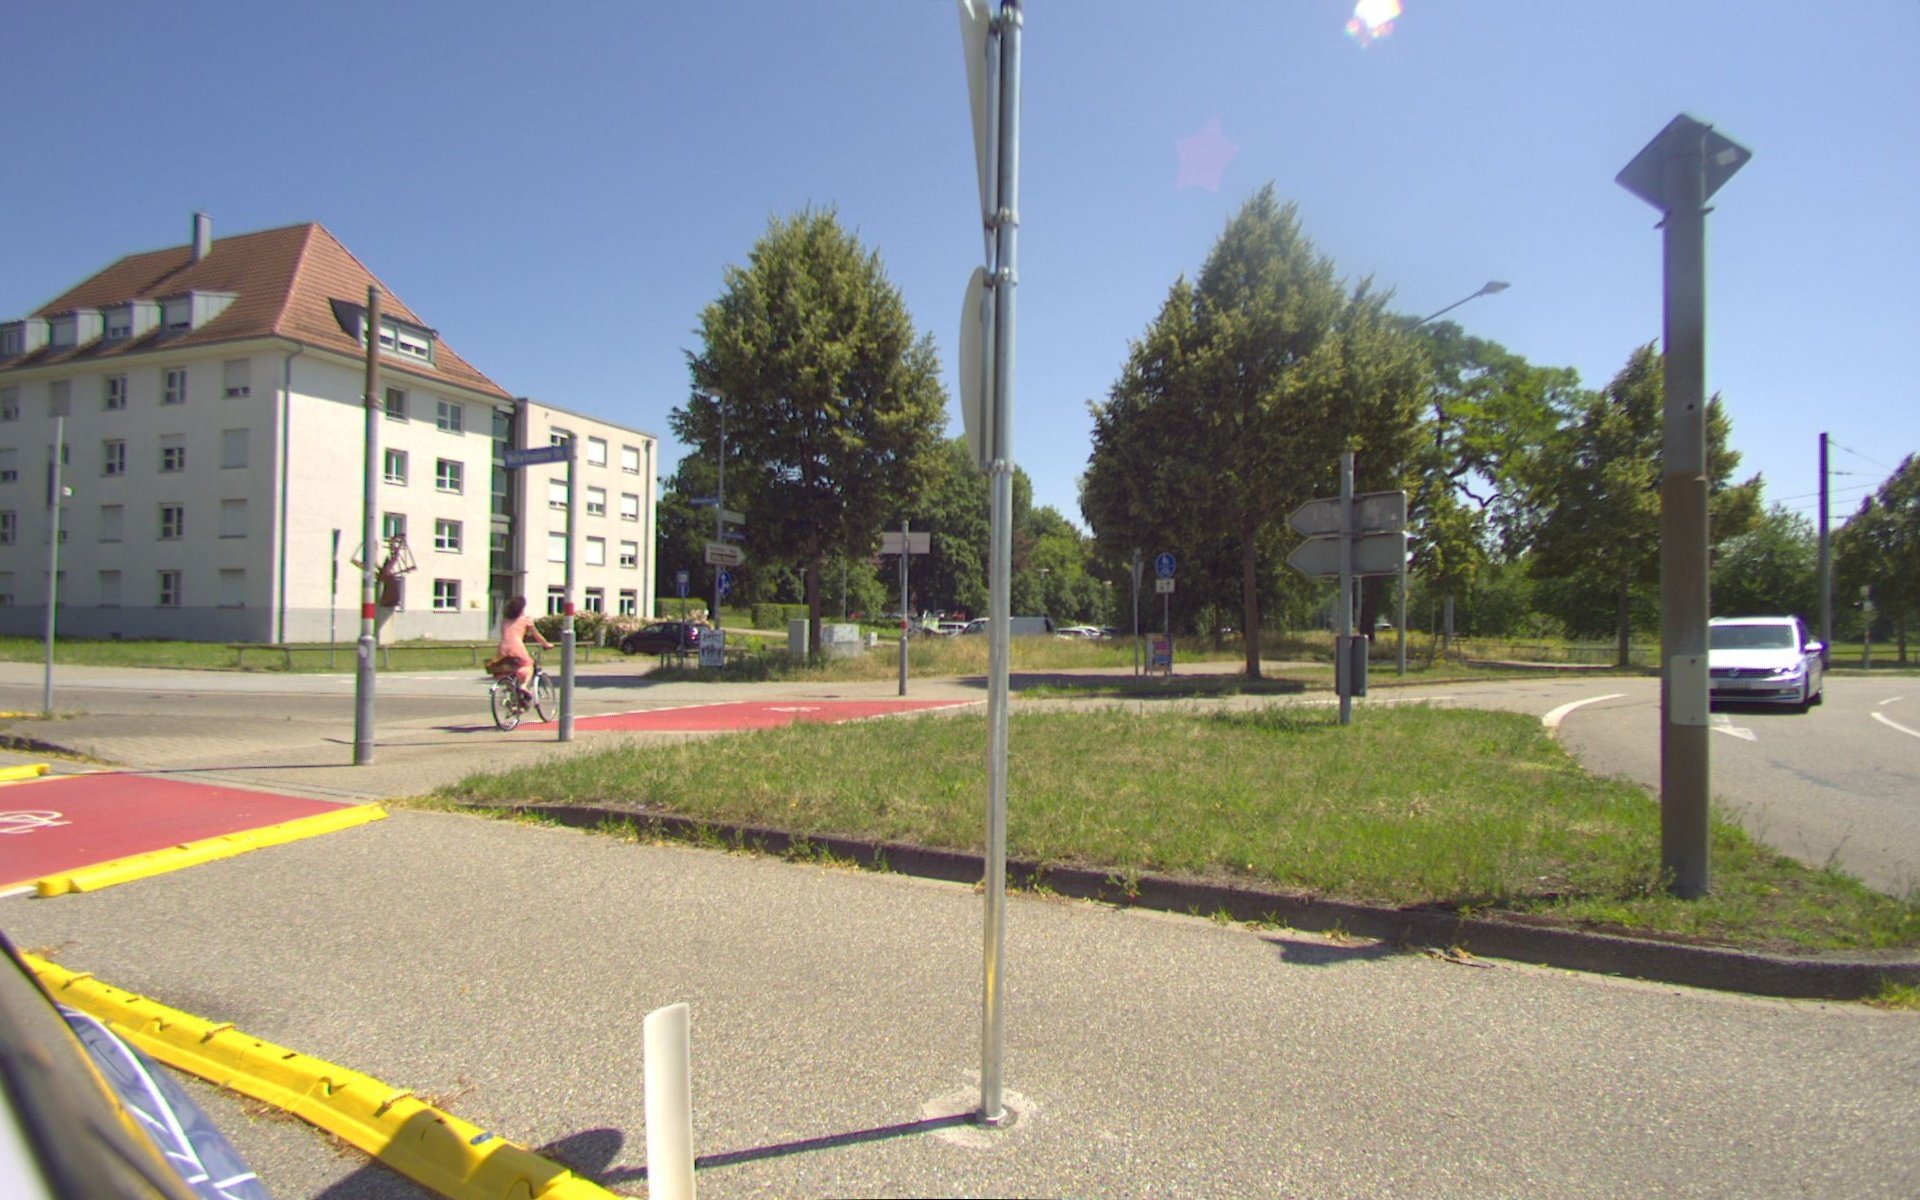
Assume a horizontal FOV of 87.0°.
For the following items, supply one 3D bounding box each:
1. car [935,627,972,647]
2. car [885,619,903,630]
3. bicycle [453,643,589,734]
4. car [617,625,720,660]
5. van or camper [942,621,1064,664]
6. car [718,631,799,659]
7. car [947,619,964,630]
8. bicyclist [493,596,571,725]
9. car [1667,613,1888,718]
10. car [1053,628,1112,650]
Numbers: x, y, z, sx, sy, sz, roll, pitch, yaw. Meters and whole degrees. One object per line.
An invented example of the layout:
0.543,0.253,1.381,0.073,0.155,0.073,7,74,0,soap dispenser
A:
-0.477,2.646,72.949,2.517,1.368,1.074,0,-2,28,car
-9.107,3.350,139.585,1.466,1.427,3.012,0,-1,16,car
-5.762,1.130,13.422,0.435,1.066,2.078,1,-1,15,bicycle
-11.801,1.716,40.936,3.780,1.337,1.648,0,-2,21,car
1.972,1.919,46.357,5.233,1.871,1.987,0,-2,20,van or camper
-9.278,2.035,46.519,3.489,1.227,1.347,0,-2,21,car
-0.588,3.368,137.017,1.466,1.427,3.012,0,-1,16,car
-5.775,0.808,13.683,0.640,1.677,0.706,0,-3,15,bicyclist
14.572,1.092,17.971,4.527,1.661,1.811,1,-2,-34,car
7.542,2.404,62.444,3.367,1.291,1.344,0,-2,28,car
